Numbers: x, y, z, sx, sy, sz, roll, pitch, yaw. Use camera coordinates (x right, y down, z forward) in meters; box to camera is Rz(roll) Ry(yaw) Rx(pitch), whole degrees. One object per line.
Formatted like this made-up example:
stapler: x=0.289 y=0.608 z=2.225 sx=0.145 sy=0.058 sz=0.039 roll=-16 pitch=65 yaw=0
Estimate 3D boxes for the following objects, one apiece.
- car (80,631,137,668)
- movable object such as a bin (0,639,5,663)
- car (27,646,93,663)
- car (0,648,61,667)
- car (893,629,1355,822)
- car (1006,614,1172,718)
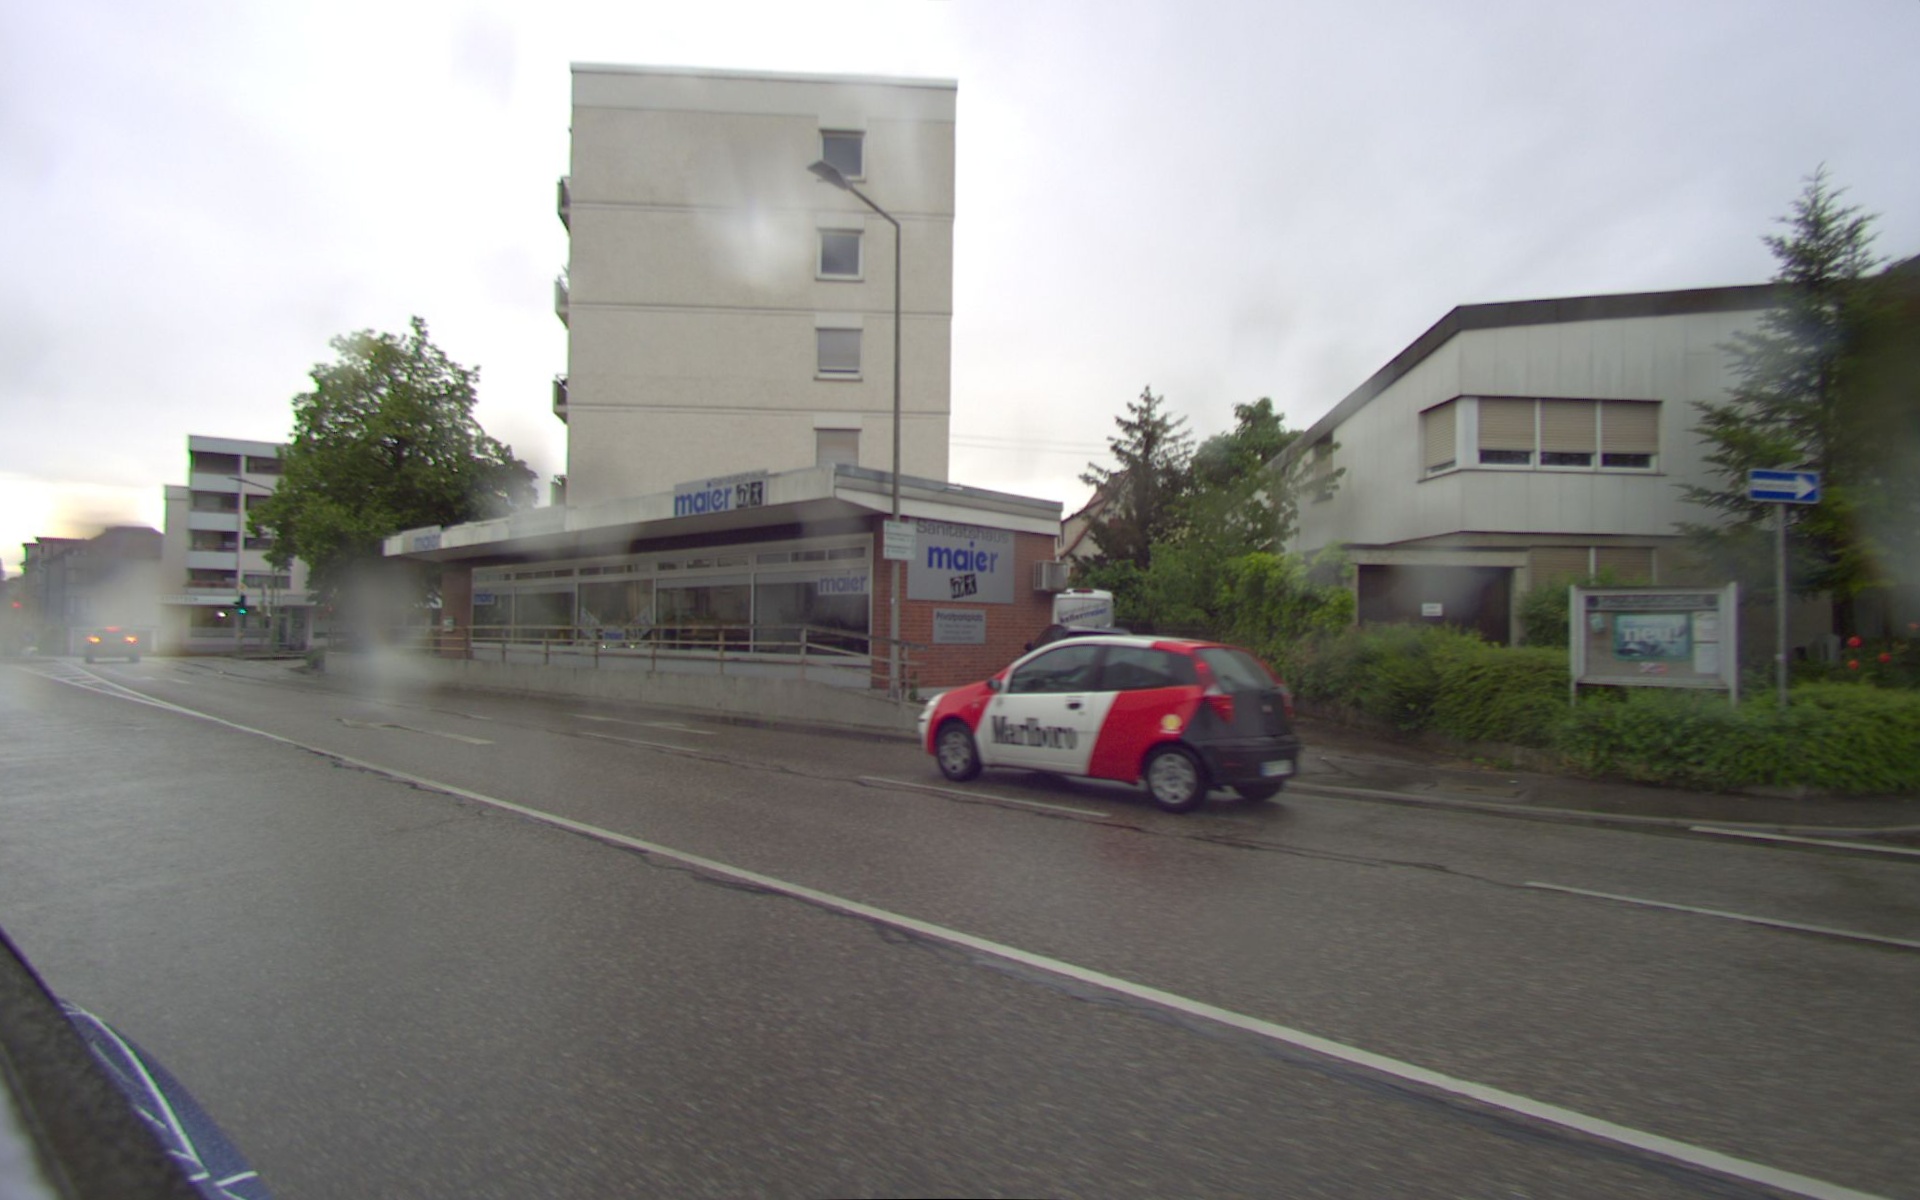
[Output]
car: x=-38.668 y=2.232 z=45.927 sx=1.781 sy=1.569 sz=4.323 roll=1 pitch=-3 yaw=-42
movable object such as a bin: x=-115.297 y=6.082 z=119.728 sx=2.878 sy=2.863 sz=2.203 roll=1 pitch=-3 yaw=-31
car: x=-84.035 y=5.076 z=94.517 sx=4.558 sy=1.508 sz=1.931 roll=2 pitch=-4 yaw=-44
car: x=-88.971 y=5.449 z=95.807 sx=5.386 sy=1.697 sz=2.154 roll=0 pitch=-3 yaw=-19
car: x=1.383 y=1.060 z=9.483 sx=3.998 sy=1.420 sz=1.679 roll=-3 pitch=-6 yaw=42
car: x=2.054 y=1.071 z=17.541 sx=1.970 sy=1.558 sz=4.475 roll=0 pitch=-2 yaw=-5
